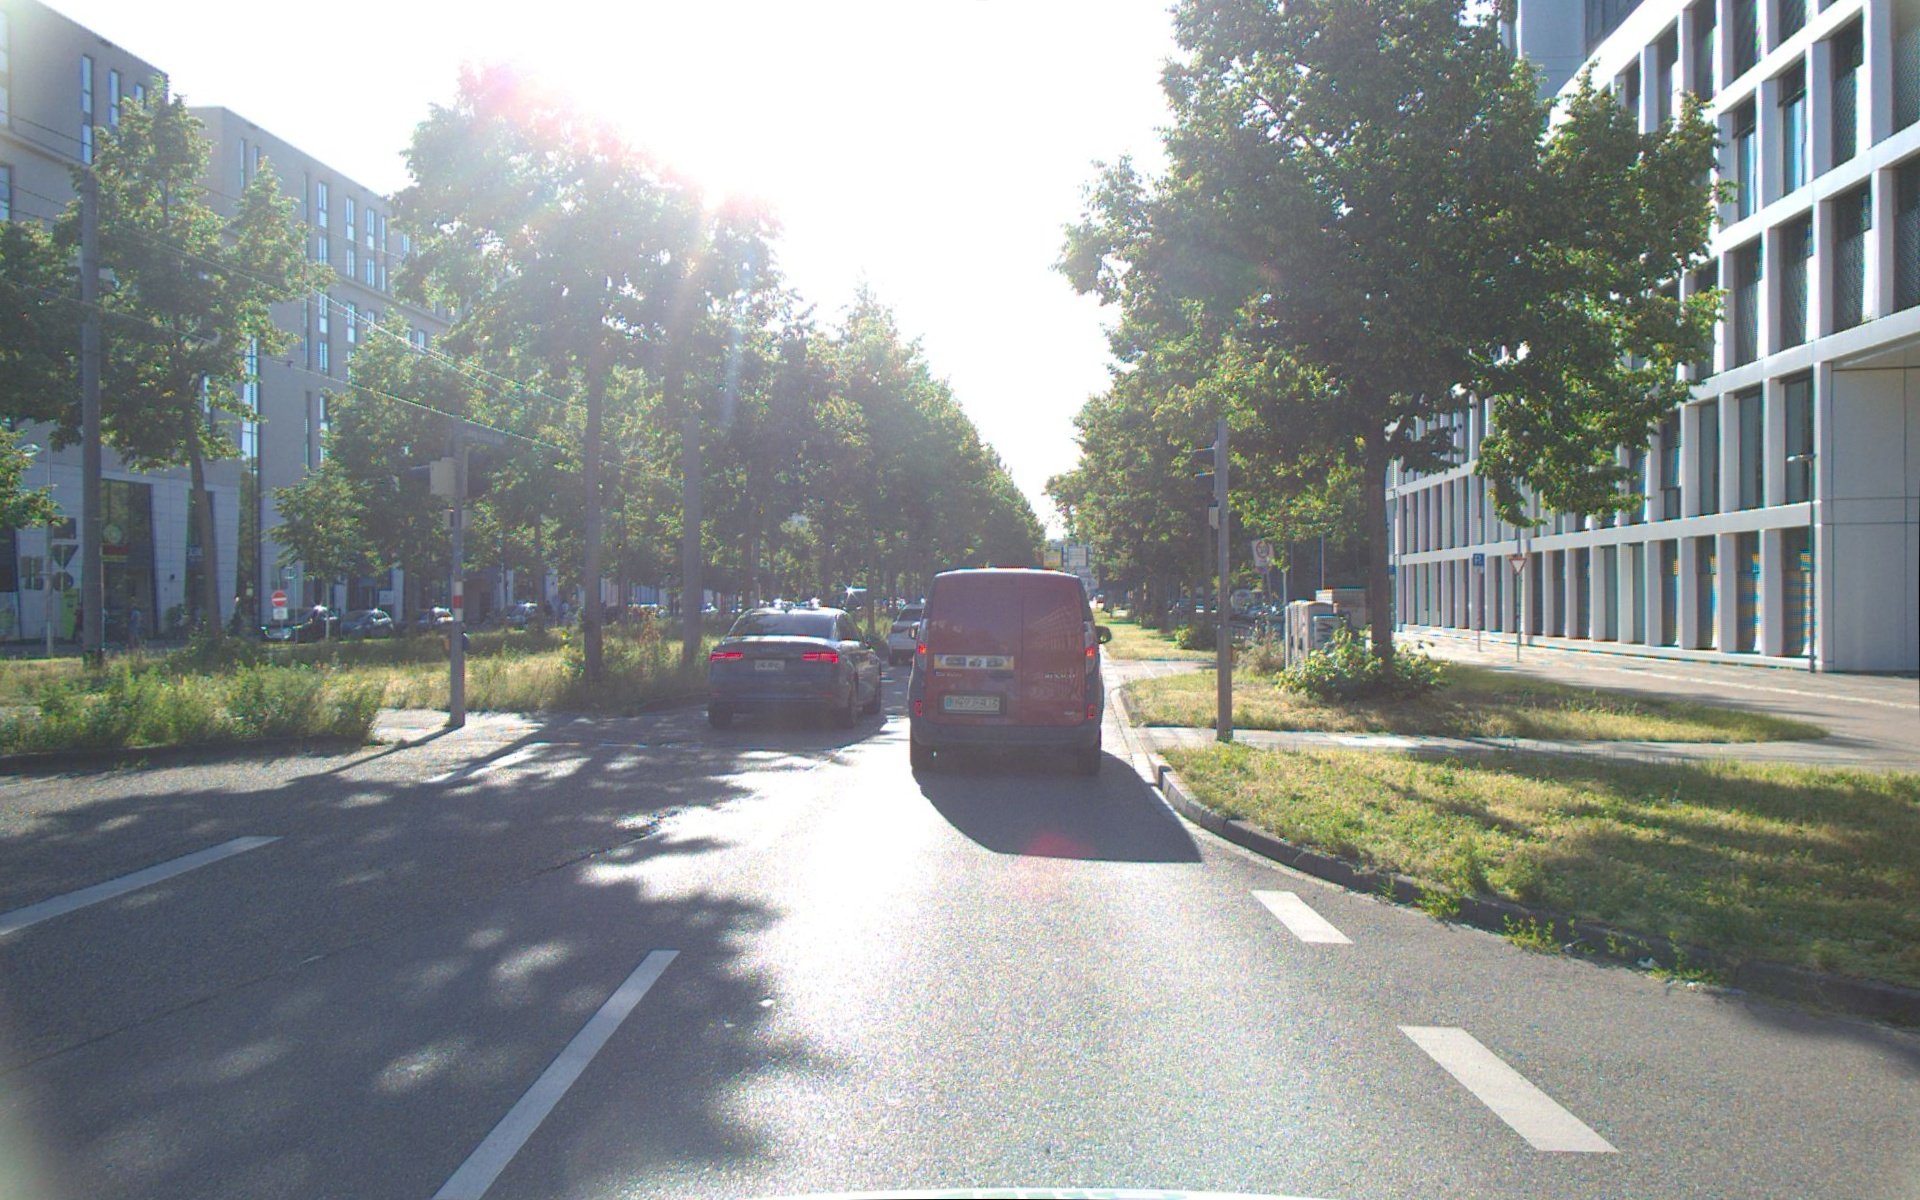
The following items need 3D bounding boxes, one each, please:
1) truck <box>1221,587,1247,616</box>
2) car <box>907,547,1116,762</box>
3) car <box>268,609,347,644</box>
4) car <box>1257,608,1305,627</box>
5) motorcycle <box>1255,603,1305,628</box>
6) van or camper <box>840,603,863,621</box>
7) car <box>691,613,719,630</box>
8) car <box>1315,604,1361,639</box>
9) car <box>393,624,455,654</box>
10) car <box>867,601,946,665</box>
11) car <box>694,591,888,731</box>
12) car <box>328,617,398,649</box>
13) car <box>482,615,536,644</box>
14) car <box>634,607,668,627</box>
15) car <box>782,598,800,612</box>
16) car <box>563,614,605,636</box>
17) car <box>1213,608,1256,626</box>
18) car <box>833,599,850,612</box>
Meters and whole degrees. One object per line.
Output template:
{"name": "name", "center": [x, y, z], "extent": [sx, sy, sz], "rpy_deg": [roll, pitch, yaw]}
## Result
{"name": "truck", "center": [24.914, 0.169, 150.427], "extent": [1.793, 2.545, 5.935], "rpy_deg": [0, 0, 4]}
{"name": "car", "center": [0.455, 0.494, 16.115], "extent": [1.771, 1.826, 4.112], "rpy_deg": [0, -1, 0]}
{"name": "car", "center": [-26.330, 1.046, 66.854], "extent": [1.547, 1.366, 3.714], "rpy_deg": [0, 0, 4]}
{"name": "car", "center": [22.980, 1.256, 118.535], "extent": [3.326, 1.382, 1.472], "rpy_deg": [0, 0, 11]}
{"name": "motorcycle", "center": [21.557, 1.051, 111.396], "extent": [3.326, 1.692, 1.472], "rpy_deg": [0, 0, 11]}
{"name": "van or camper", "center": [-10.694, 1.186, 163.508], "extent": [1.782, 1.769, 3.714], "rpy_deg": [0, 0, 4]}
{"name": "car", "center": [-21.292, 1.810, 138.028], "extent": [1.547, 1.366, 3.714], "rpy_deg": [0, 0, 4]}
{"name": "car", "center": [18.226, 1.005, 79.917], "extent": [1.721, 1.640, 3.906], "rpy_deg": [0, 0, 6]}
{"name": "car", "center": [-25.722, 1.861, 79.493], "extent": [1.547, 1.366, 3.714], "rpy_deg": [0, 0, 4]}
{"name": "car", "center": [-1.252, 0.770, 40.277], "extent": [1.771, 1.460, 4.113], "rpy_deg": [0, 0, 0]}
{"name": "car", "center": [-1.978, 0.680, 20.518], "extent": [1.770, 1.554, 4.114], "rpy_deg": [0, 0, 3]}
{"name": "car", "center": [-26.216, 1.439, 72.757], "extent": [1.547, 1.366, 3.714], "rpy_deg": [0, 0, 4]}
{"name": "car", "center": [-25.193, 1.618, 92.425], "extent": [1.738, 1.555, 3.808], "rpy_deg": [0, 0, 4]}
{"name": "car", "center": [-21.940, 1.193, 117.522], "extent": [1.547, 1.366, 3.714], "rpy_deg": [0, 0, 4]}
{"name": "car", "center": [-21.922, 0.670, 214.356], "extent": [1.696, 1.803, 4.002], "rpy_deg": [0, 0, 4]}
{"name": "car", "center": [-23.862, 1.593, 105.069], "extent": [1.547, 1.366, 3.714], "rpy_deg": [0, 0, 4]}
{"name": "car", "center": [21.737, 1.350, 130.829], "extent": [3.326, 1.382, 1.472], "rpy_deg": [0, 0, 11]}
{"name": "car", "center": [-15.823, 0.722, 220.788], "extent": [1.718, 1.601, 4.002], "rpy_deg": [0, 0, 4]}
